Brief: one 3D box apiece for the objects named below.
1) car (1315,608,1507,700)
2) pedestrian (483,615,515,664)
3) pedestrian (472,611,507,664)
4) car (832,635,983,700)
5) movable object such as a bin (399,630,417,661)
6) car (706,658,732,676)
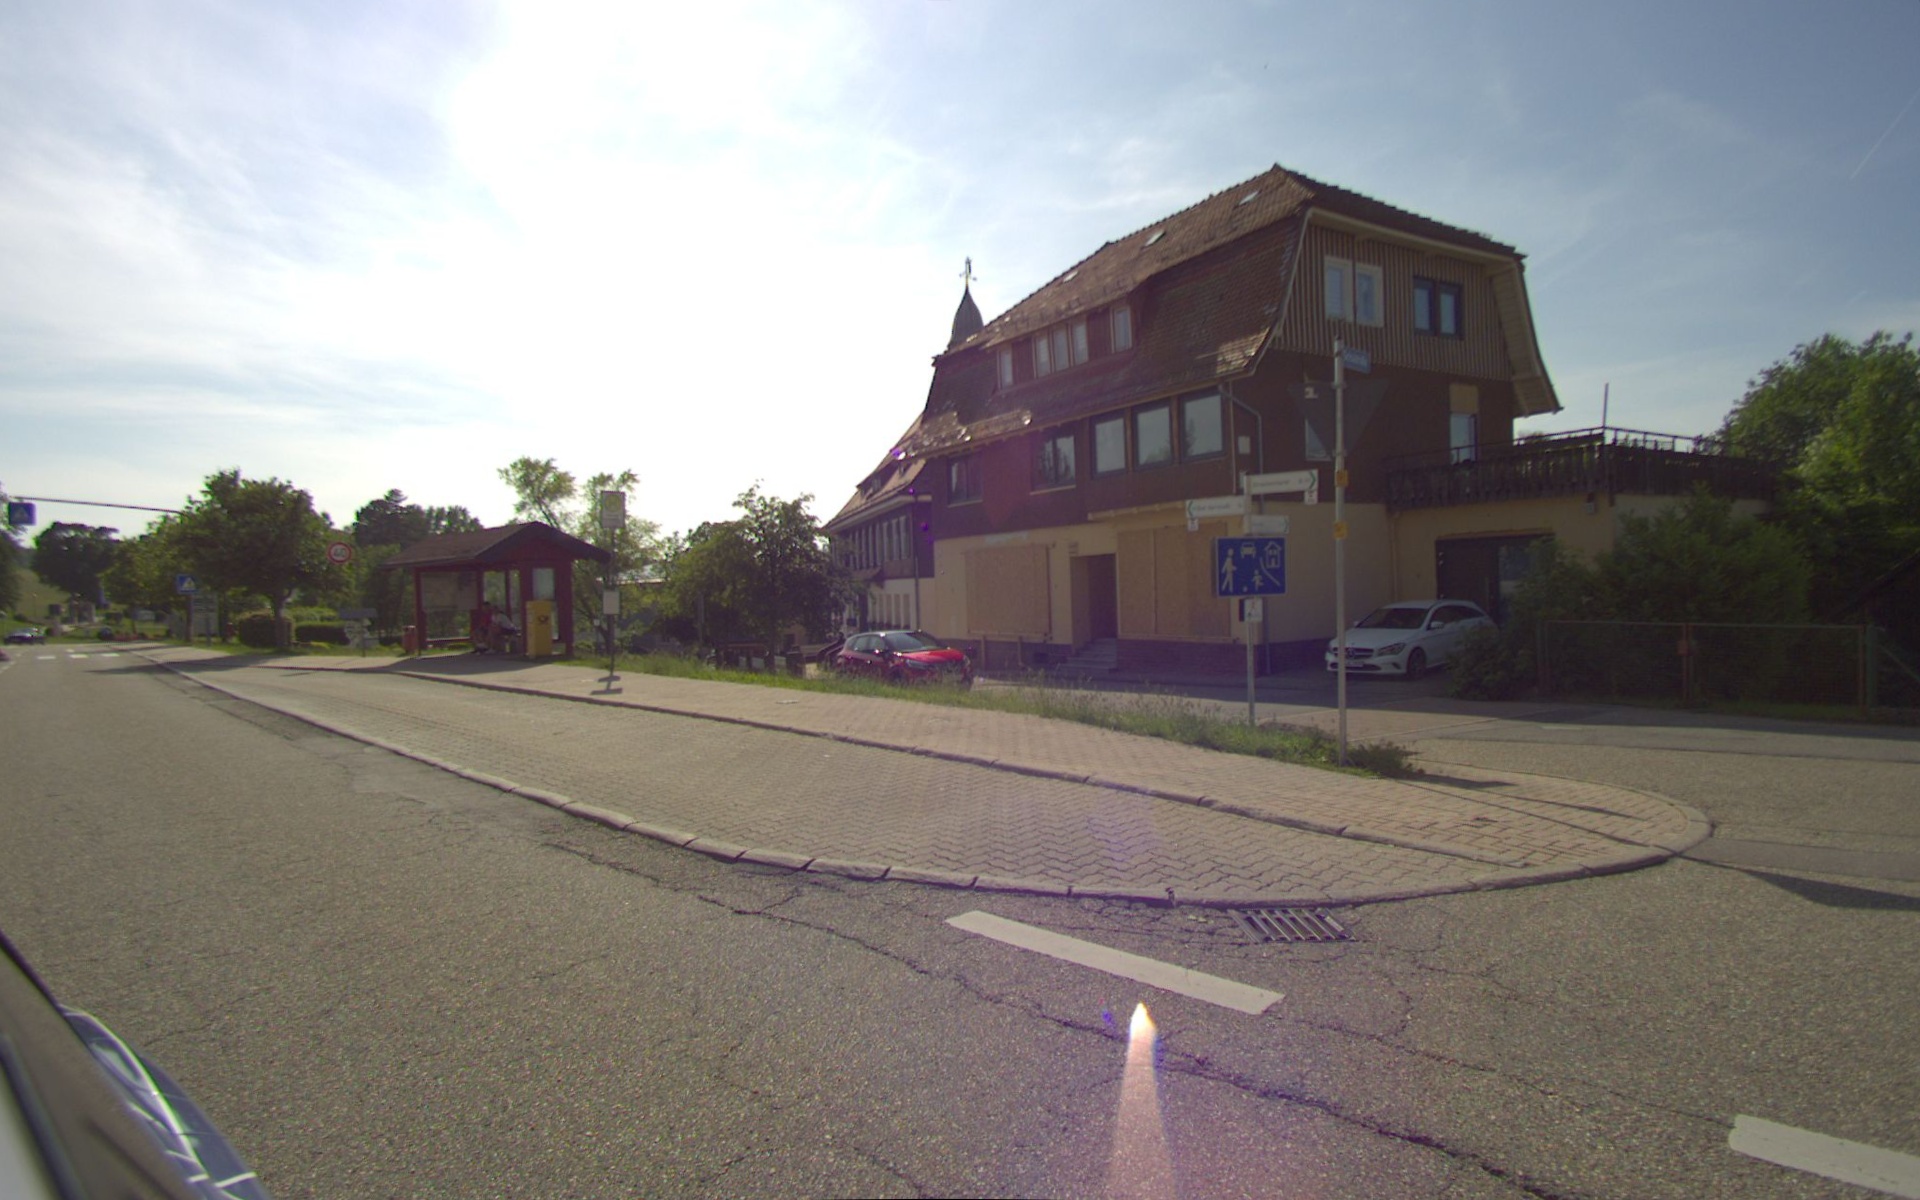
[{"bbox_3d":[9.444,1.043,21.057,4.246,1.522,1.804,-3,2,-37],"label":"car"},{"bbox_3d":[-11.991,1.017,26.320,0.423,1.262,0.622,-2,-3,41],"label":"pedestrian"},{"bbox_3d":[-12.428,0.997,26.724,0.674,1.375,0.611,-4,-4,42],"label":"pedestrian"},{"bbox_3d":[-1.291,1.466,23.007,1.697,1.307,4.011,0,-2,-32],"label":"car"},{"bbox_3d":[-15.067,1.242,27.622,0.485,0.843,0.301,-2,-1,41],"label":"movable object such as a bin"},{"bbox_3d":[-23.097,6.436,96.895,1.542,1.652,2.979,1,-3,-33],"label":"car"}]
